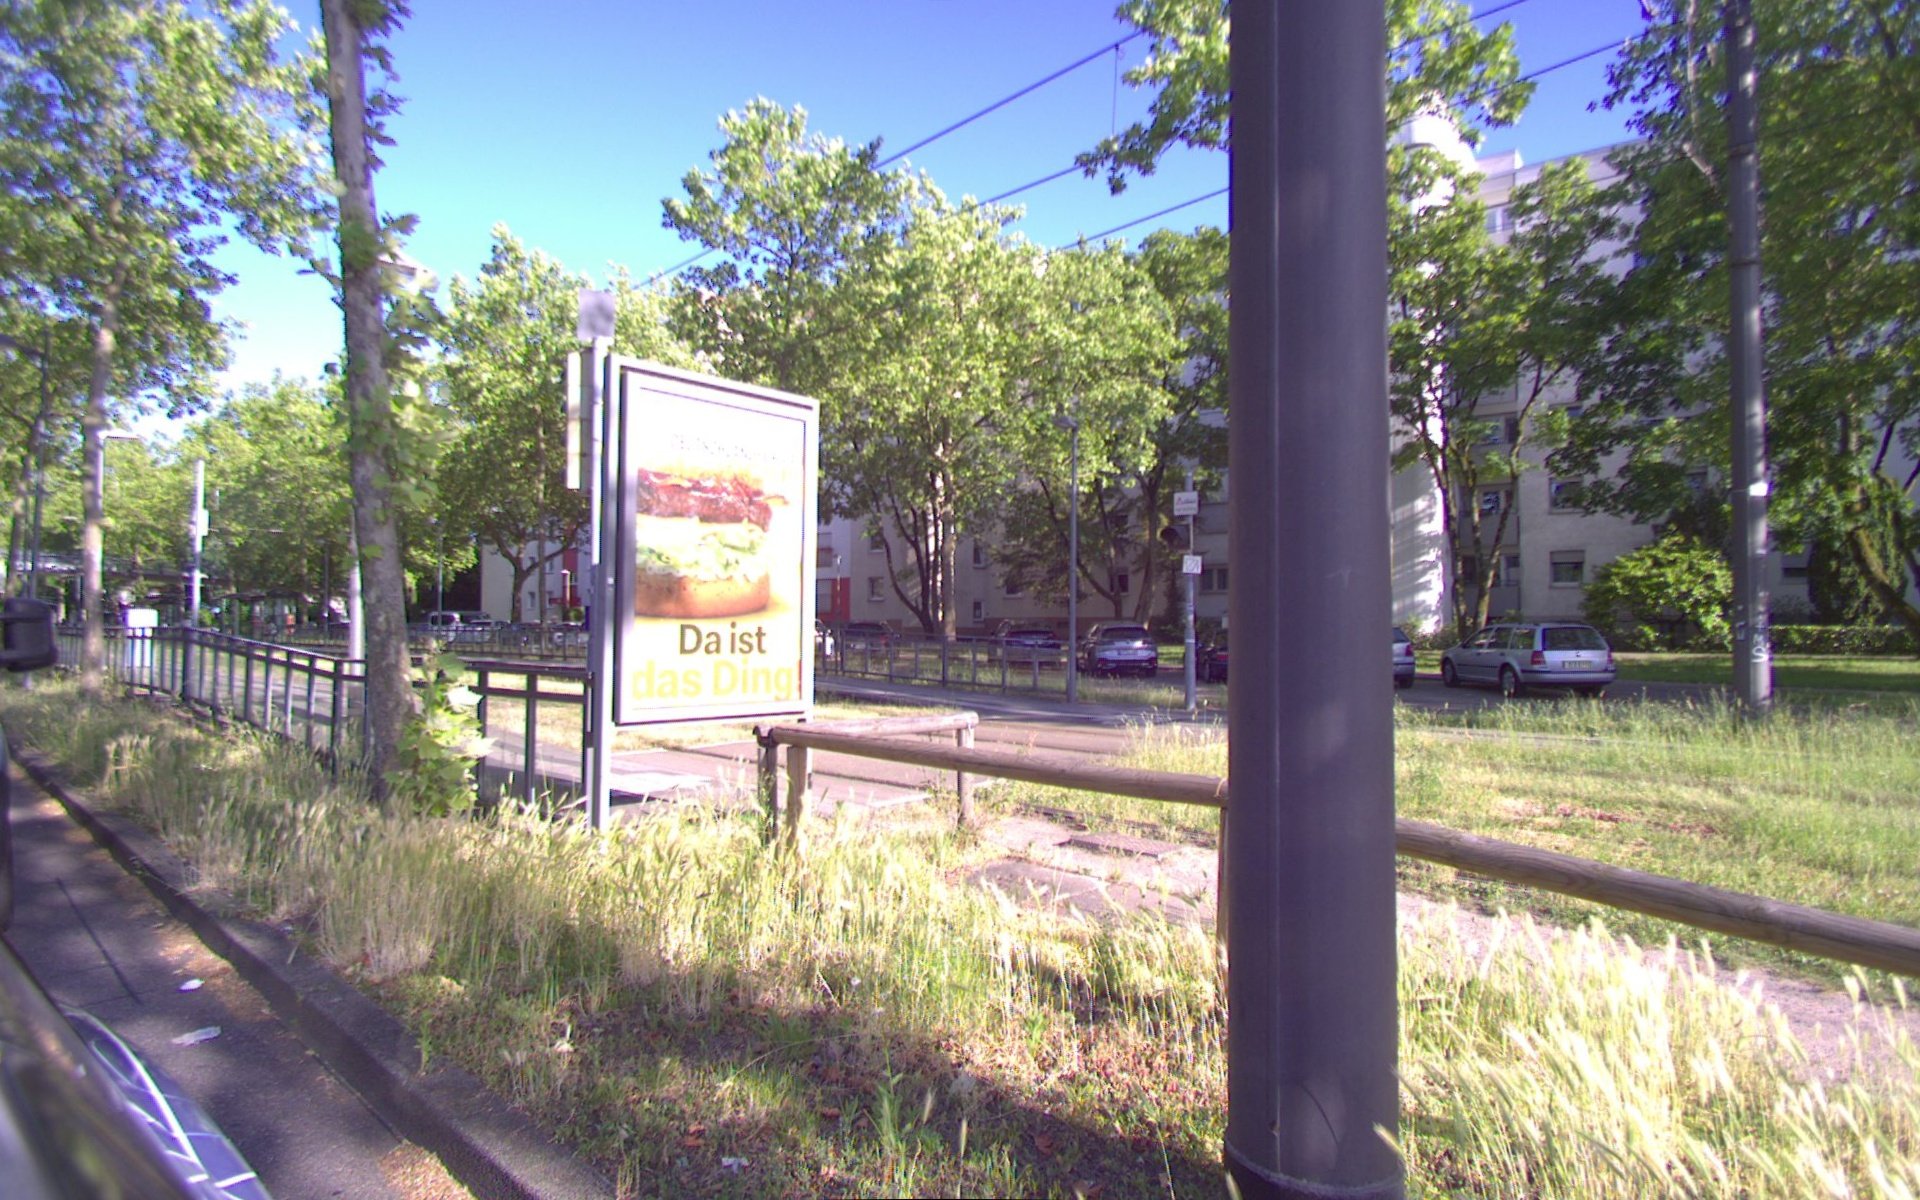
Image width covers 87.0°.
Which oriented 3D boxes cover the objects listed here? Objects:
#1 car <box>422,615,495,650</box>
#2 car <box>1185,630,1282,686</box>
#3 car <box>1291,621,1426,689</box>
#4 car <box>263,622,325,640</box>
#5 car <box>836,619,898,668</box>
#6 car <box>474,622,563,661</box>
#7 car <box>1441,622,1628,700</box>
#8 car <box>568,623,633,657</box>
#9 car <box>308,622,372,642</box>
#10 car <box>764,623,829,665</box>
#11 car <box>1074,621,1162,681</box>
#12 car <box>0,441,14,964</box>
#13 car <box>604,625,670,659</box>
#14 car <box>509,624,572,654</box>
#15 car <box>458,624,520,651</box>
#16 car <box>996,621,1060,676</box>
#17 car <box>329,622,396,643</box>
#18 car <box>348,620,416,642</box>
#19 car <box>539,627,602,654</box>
[{"bbox_3d":[-28.333,1.815,57.327,1.898,1.898,4.365,0,-1,1],"label":"car"},{"bbox_3d":[6.726,1.394,25.209,1.602,1.256,3.677,0,-1,4],"label":"car"},{"bbox_3d":[9.149,1.213,23.529,1.679,1.444,3.681,0,-1,1],"label":"car"},{"bbox_3d":[-52.154,2.391,79.362,1.898,1.386,4.365,0,-1,1],"label":"car"},{"bbox_3d":[-3.112,1.450,34.469,1.664,1.579,3.679,0,-1,2],"label":"car"},{"bbox_3d":[-17.237,1.583,39.471,3.757,1.431,1.801,-1,-2,42],"label":"car"},{"bbox_3d":[11.544,1.170,20.631,1.707,1.444,3.681,0,-1,1],"label":"car"},{"bbox_3d":[-16.687,1.833,47.136,1.627,1.460,3.680,0,-1,1],"label":"car"},{"bbox_3d":[-44.652,2.269,72.982,1.898,1.386,4.365,0,-1,1],"label":"car"},{"bbox_3d":[-5.914,1.563,36.919,1.664,1.444,3.679,0,-1,2],"label":"car"},{"bbox_3d":[4.203,1.339,27.494,1.894,1.507,3.680,0,-1,2],"label":"car"},{"bbox_3d":[-6.464,0.448,5.082,5.111,2.131,2.014,-1,-1,41],"label":"car"},{"bbox_3d":[-14.088,1.810,44.281,1.627,1.403,3.679,0,-1,2],"label":"car"},{"bbox_3d":[-21.129,1.949,51.134,1.627,1.460,3.680,0,-1,1],"label":"car"},{"bbox_3d":[-25.804,2.024,55.518,1.627,1.407,3.680,0,-1,1],"label":"car"},{"bbox_3d":[1.930,1.360,29.448,1.664,1.482,3.680,0,-1,1],"label":"car"},{"bbox_3d":[-40.290,2.192,68.390,1.898,1.386,4.365,0,-1,1],"label":"car"},{"bbox_3d":[-37.917,2.024,66.521,1.898,1.386,4.365,0,-1,1],"label":"car"},{"bbox_3d":[-19.052,1.971,49.666,1.627,1.251,3.680,0,-1,1],"label":"car"}]
